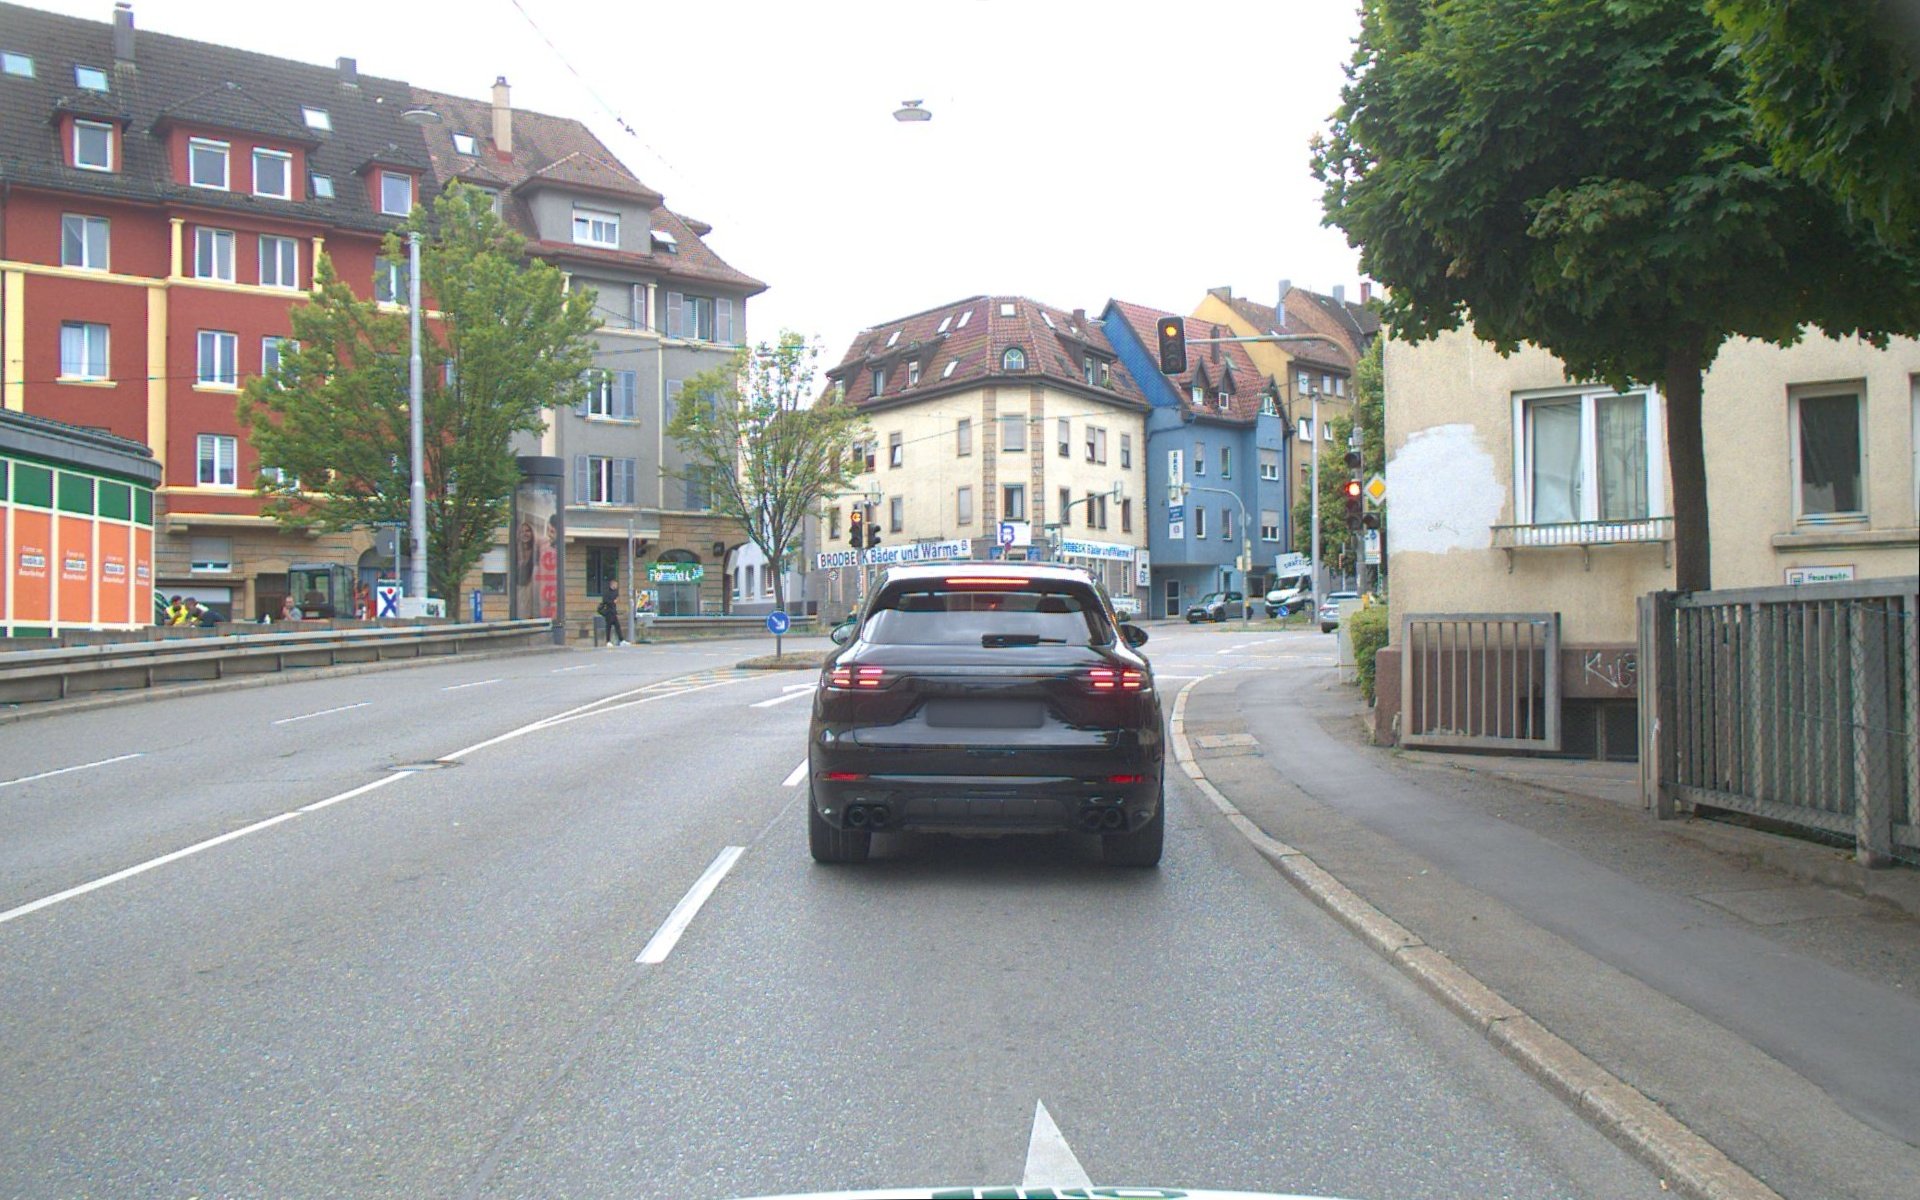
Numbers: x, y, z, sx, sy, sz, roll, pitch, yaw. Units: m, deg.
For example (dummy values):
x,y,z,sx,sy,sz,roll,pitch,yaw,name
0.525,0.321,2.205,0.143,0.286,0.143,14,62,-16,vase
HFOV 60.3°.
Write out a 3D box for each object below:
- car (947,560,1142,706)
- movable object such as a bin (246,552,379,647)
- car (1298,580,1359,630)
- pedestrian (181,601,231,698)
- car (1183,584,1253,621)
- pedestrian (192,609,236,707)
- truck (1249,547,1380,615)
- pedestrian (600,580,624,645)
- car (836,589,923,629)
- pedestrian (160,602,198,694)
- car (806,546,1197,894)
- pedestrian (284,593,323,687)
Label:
x,y,z,sx,sy,sz,roll,pitch,yaw,name
1.204,0.387,21.544,1.951,1.713,4.003,0,0,11,car
-13.306,-0.018,34.220,1.869,1.802,3.988,2,0,-12,movable object such as a bin
13.053,0.183,58.777,1.951,1.713,4.003,0,0,10,car
-14.254,0.934,31.266,0.561,1.792,0.615,1,0,36,pedestrian
12.505,0.124,79.980,1.957,1.713,3.991,0,0,31,car
-13.546,1.047,30.044,0.552,1.729,0.542,2,0,-10,pedestrian
19.015,-0.968,88.320,2.832,3.398,8.738,1,0,42,truck
-9.621,0.348,45.722,0.503,1.760,0.451,2,0,3,pedestrian
-3.564,0.392,72.861,1.979,1.713,3.946,1,-1,-38,car
-15.066,0.922,31.902,0.473,1.760,0.534,2,0,-45,pedestrian
0.154,0.558,10.193,1.938,1.713,3.999,0,1,-2,car
-12.466,0.751,31.413,0.536,1.760,0.587,2,0,-33,pedestrian
